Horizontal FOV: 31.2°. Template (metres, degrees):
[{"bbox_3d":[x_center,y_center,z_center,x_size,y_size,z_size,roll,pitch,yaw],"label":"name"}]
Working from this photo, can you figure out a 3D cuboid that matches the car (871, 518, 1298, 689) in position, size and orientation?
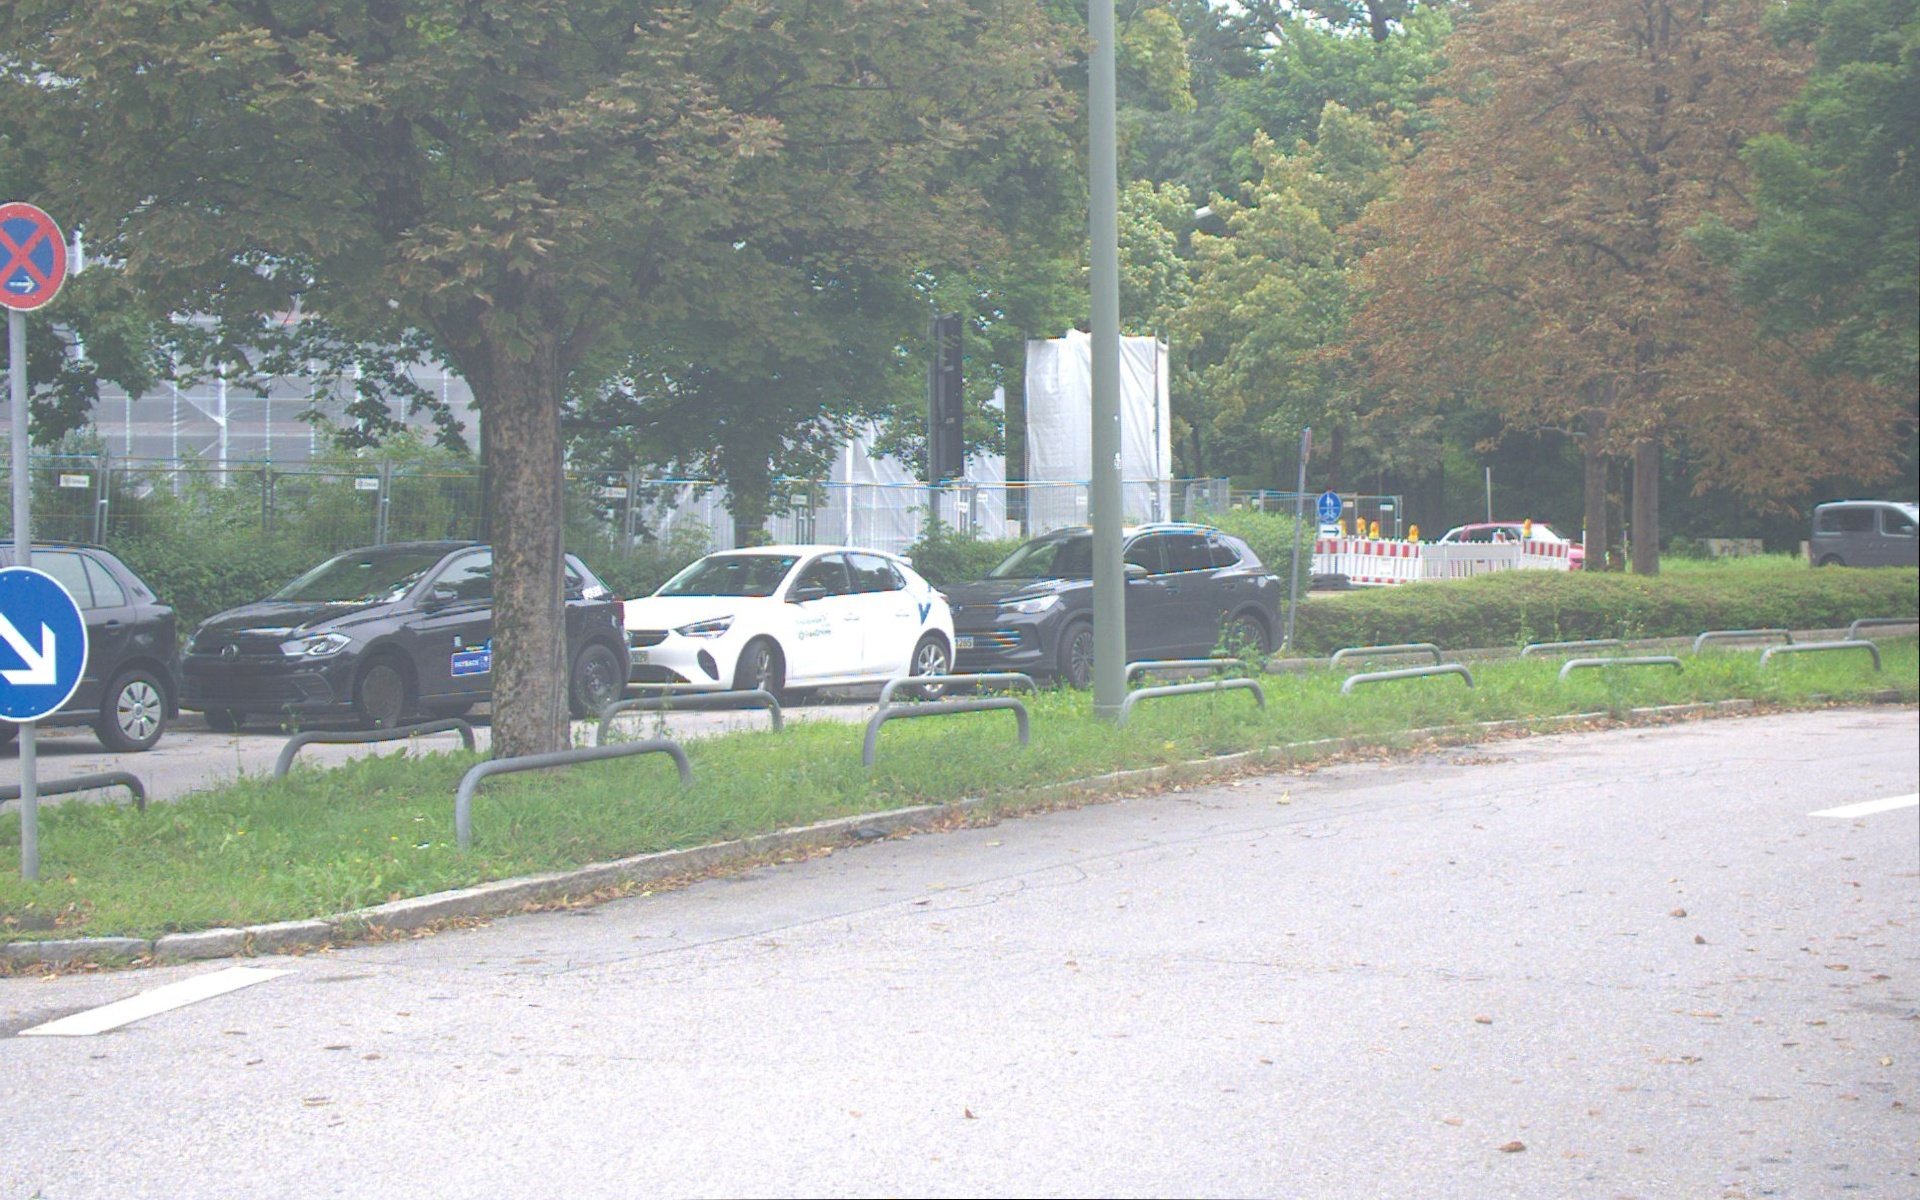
[{"bbox_3d":[1.308,0.059,34.442,1.890,1.601,4.385,0,-1,42],"label":"car"}]

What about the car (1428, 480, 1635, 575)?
[{"bbox_3d":[12.406,-1.564,74.769,1.994,2.007,4.156,-1,1,-40],"label":"car"}]

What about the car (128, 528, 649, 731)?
[{"bbox_3d":[-4.366,0.185,26.818,1.837,1.456,3.999,0,1,31],"label":"car"}]

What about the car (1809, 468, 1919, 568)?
[{"bbox_3d":[19.516,-1.662,69.873,1.994,2.007,3.999,-1,1,-40],"label":"car"}]

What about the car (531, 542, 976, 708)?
[{"bbox_3d":[-1.775,0.182,30.860,1.799,1.379,4.210,0,1,34],"label":"car"}]

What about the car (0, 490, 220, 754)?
[{"bbox_3d":[-7.018,0.145,22.596,1.997,1.700,3.993,0,1,31],"label":"car"}]
